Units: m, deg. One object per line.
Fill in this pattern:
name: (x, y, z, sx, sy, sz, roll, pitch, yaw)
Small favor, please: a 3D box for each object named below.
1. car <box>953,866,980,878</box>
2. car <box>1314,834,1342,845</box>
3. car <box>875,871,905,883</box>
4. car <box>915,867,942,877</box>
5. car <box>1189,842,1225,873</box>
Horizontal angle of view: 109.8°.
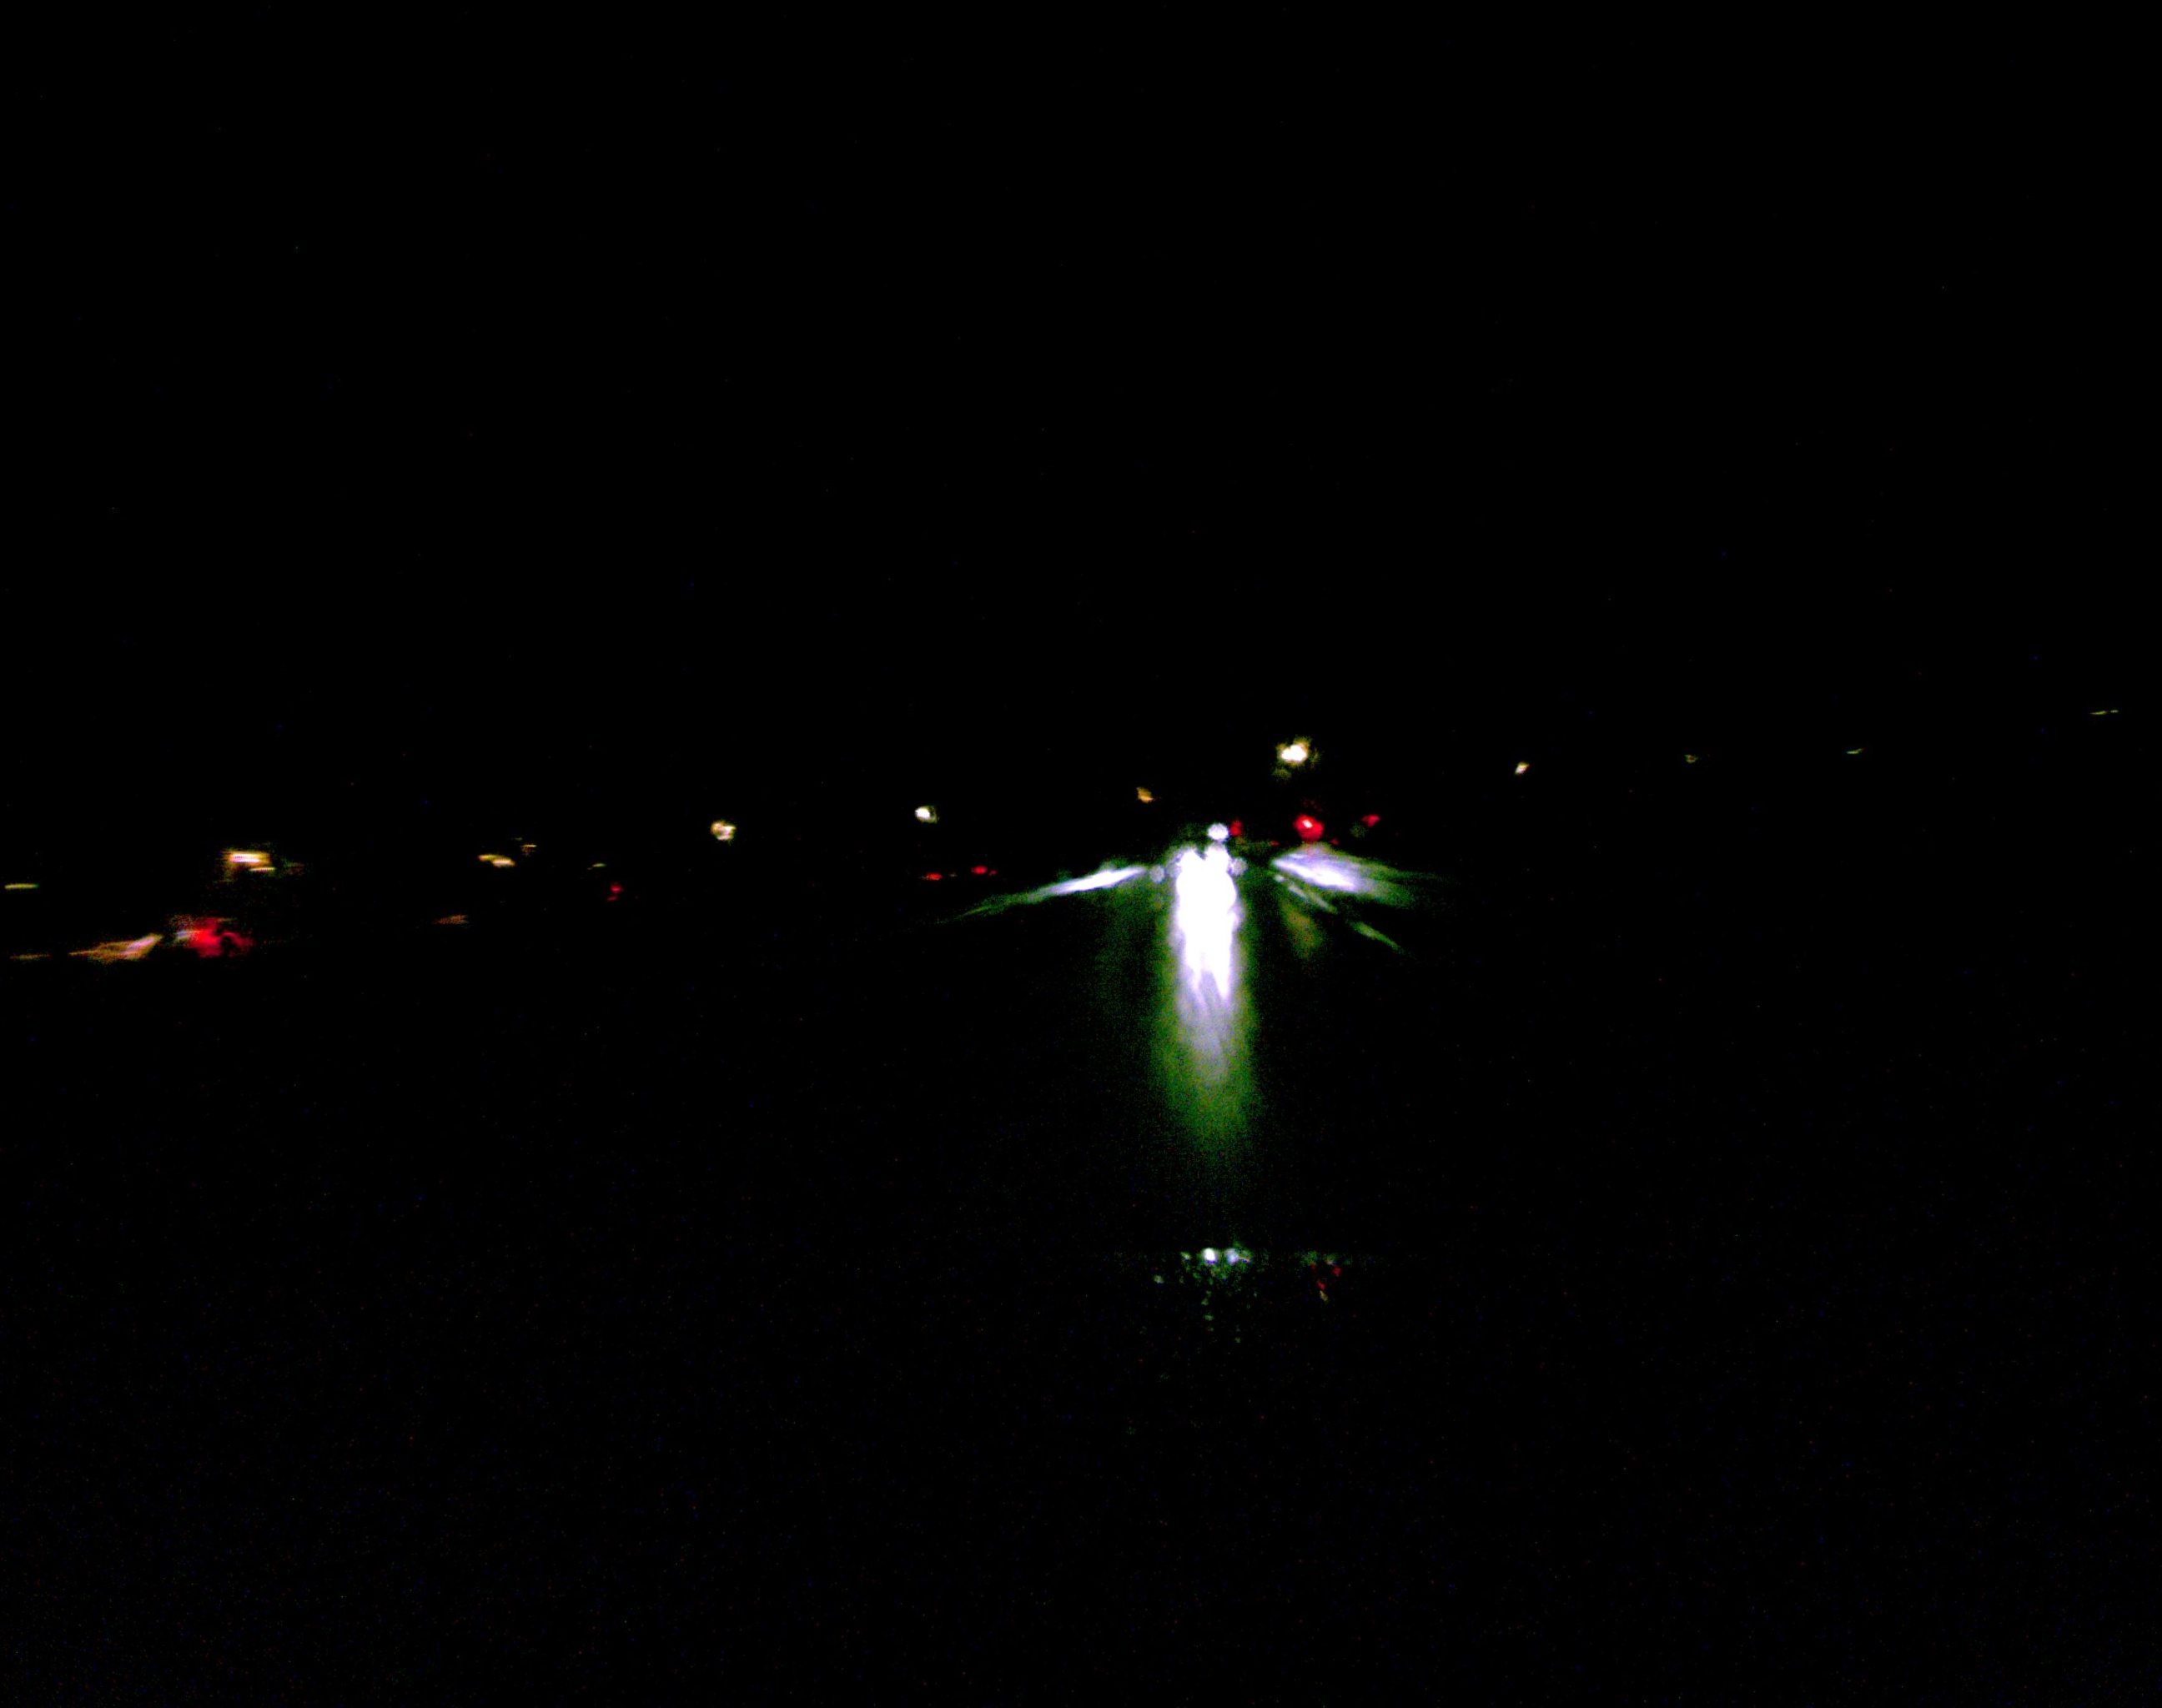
car: (-17.251, 2.674, 114.667, 3.999, 1.432, 1.718, -5, -1, -8)
car: (40.681, -2.351, 125.297, 3.999, 1.432, 1.718, -5, -2, -6)
car: (-28.439, 3.402, 113.184, 3.999, 1.432, 1.718, -5, -2, -6)
car: (-23.360, 2.793, 116.589, 3.999, 1.432, 1.718, 0, -2, -6)
car: (7.899, 0.177, 47.941, 1.997, 1.737, 4.102, -5, 0, 8)
